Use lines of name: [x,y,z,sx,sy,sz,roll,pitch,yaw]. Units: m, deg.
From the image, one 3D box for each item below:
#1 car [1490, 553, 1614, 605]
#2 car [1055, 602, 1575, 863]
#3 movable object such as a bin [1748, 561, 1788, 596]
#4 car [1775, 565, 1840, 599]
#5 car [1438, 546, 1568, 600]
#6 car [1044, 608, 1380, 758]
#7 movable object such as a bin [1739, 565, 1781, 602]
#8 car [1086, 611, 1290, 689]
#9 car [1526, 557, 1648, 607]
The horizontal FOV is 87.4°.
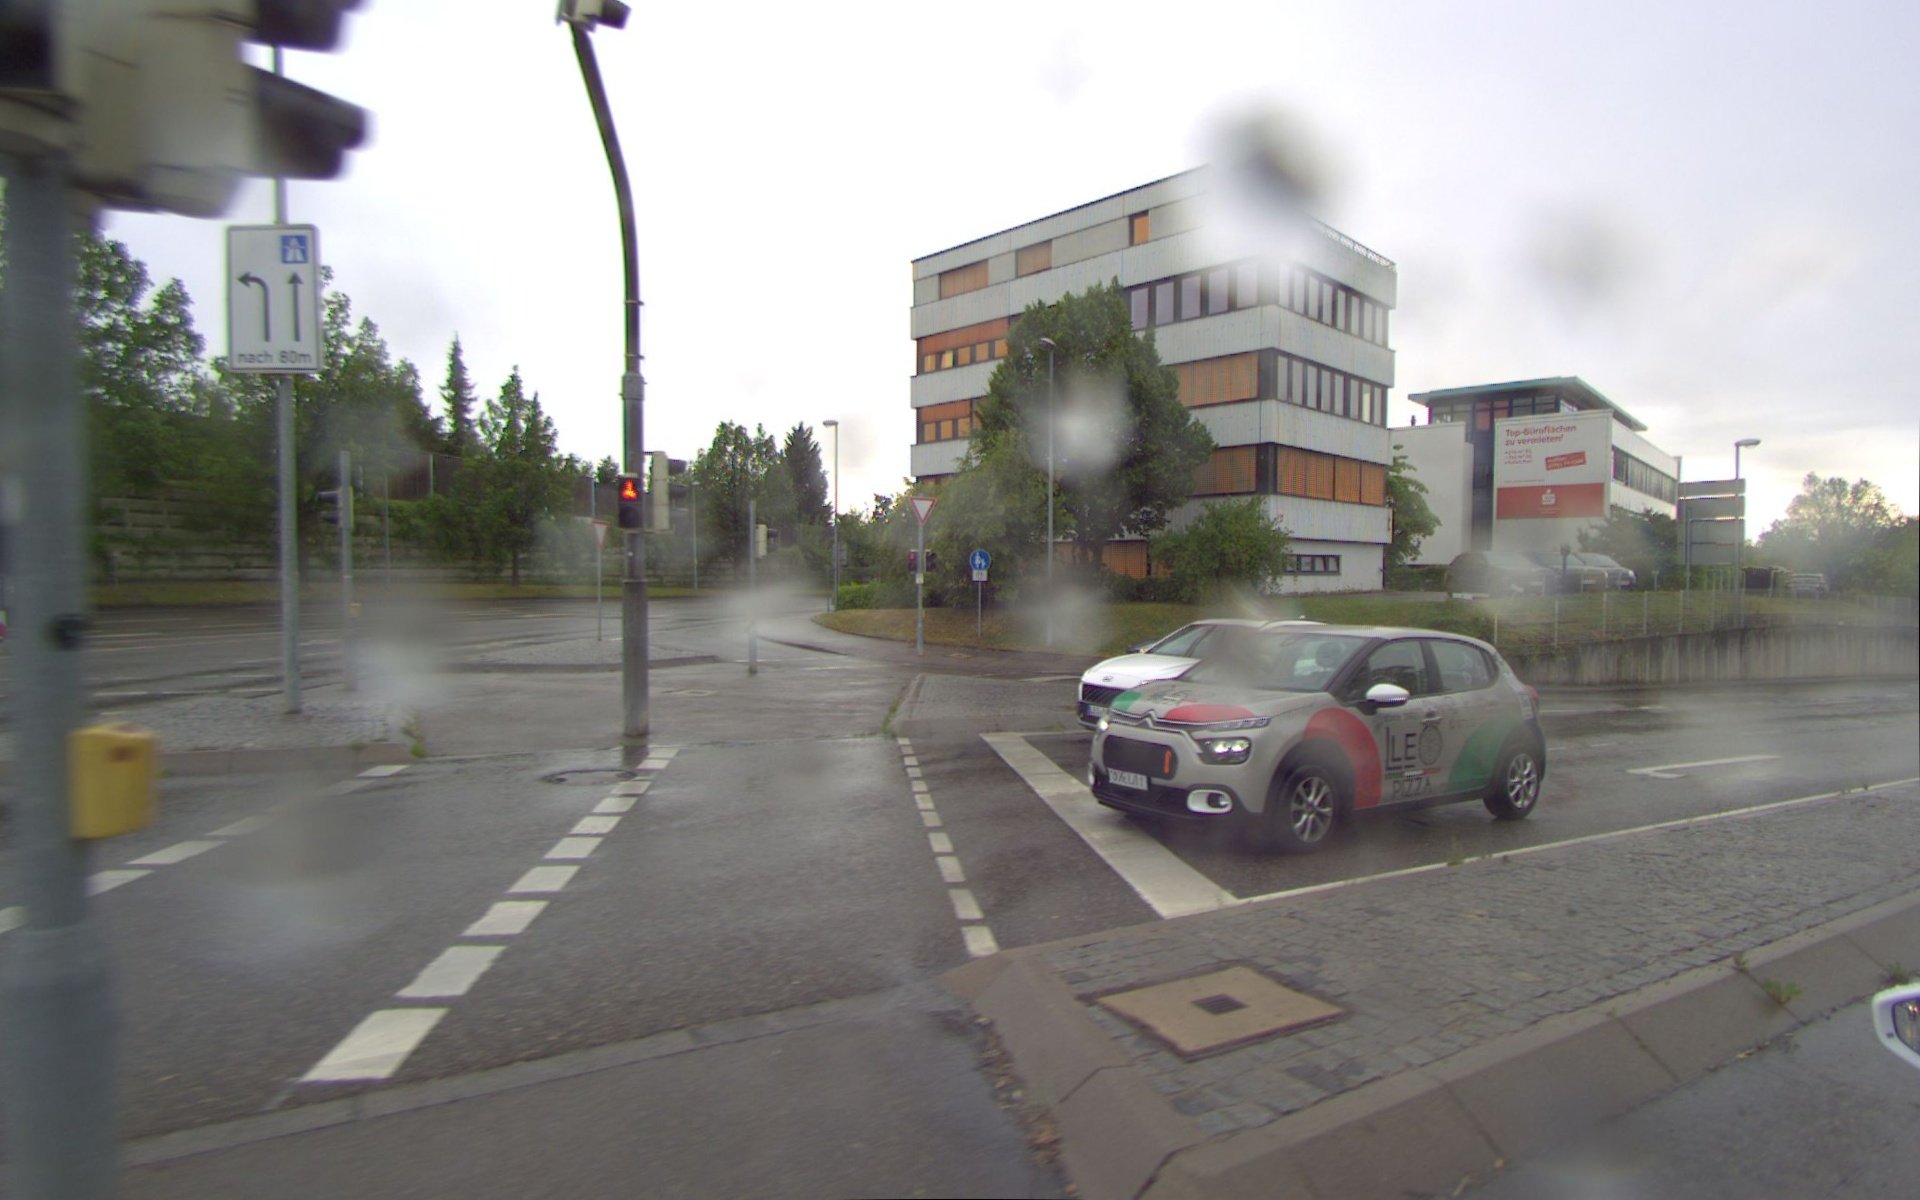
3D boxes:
car: [20.625,-0.718,35.210,1.865,1.607,3.999,4,1,-1]
car: [2.823,0.854,7.742,3.956,1.514,1.652,2,0,-32]
movable object such as a bin: [35.362,-0.937,43.950,1.435,1.456,1.074,3,1,-41]
car: [42.378,-0.891,50.193,3.969,1.461,1.811,3,1,-41]
car: [18.056,-0.881,33.616,1.866,1.607,3.997,3,1,-5]
car: [3.138,0.934,12.307,3.956,1.514,1.711,2,0,-32]
movable object such as a bin: [34.232,-0.713,42.991,1.435,1.456,1.074,3,1,-41]
car: [4.834,1.051,21.685,3.922,1.475,1.904,2,0,-1]
car: [22.996,-0.656,37.030,1.865,1.607,3.999,4,1,-1]
